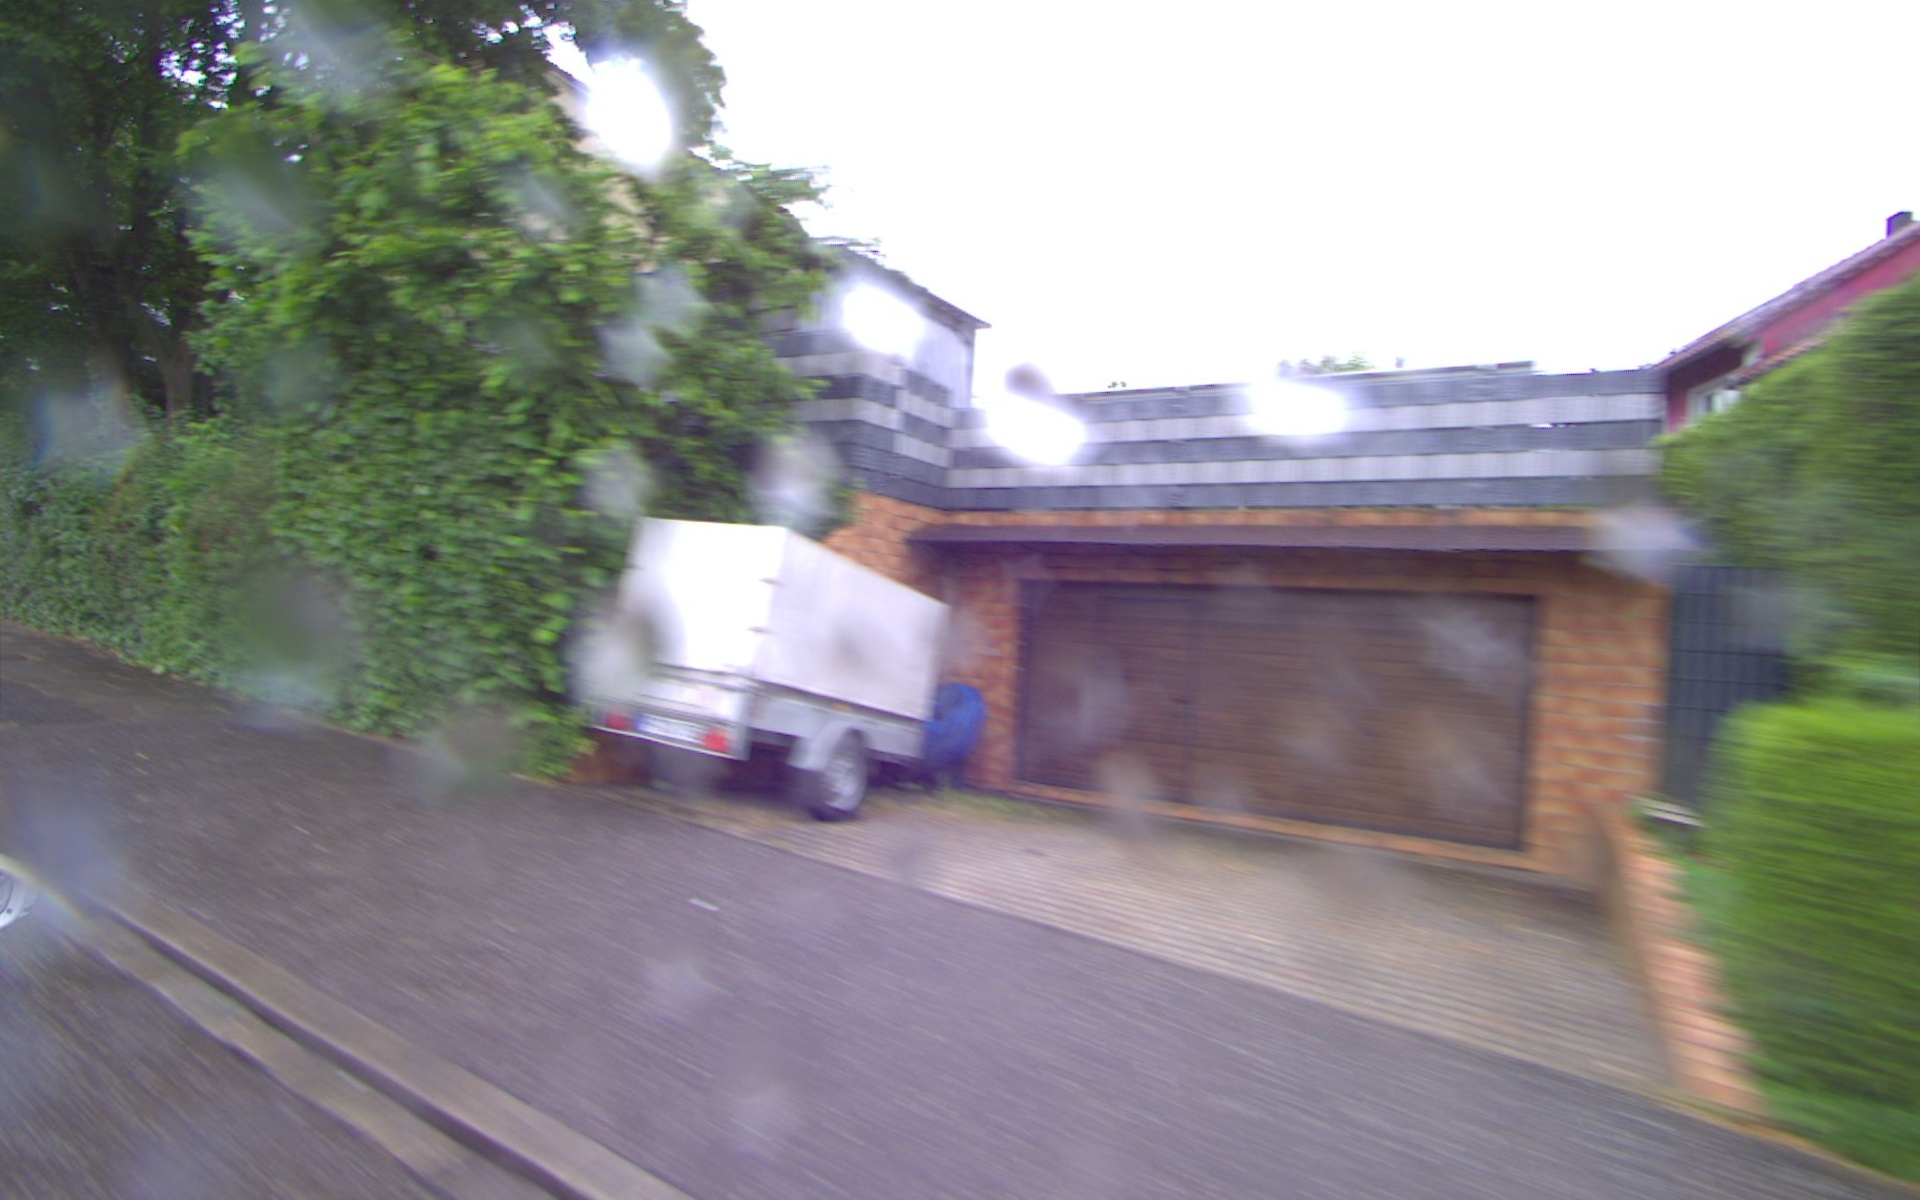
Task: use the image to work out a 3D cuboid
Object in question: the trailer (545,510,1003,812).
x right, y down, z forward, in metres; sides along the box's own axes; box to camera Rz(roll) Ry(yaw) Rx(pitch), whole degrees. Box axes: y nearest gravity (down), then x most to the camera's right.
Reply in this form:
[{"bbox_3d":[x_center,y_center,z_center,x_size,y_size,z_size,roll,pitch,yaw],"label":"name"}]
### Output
[{"bbox_3d":[-1.099,0.566,7.198,1.463,1.584,2.996,7,-7,29],"label":"trailer"}]
